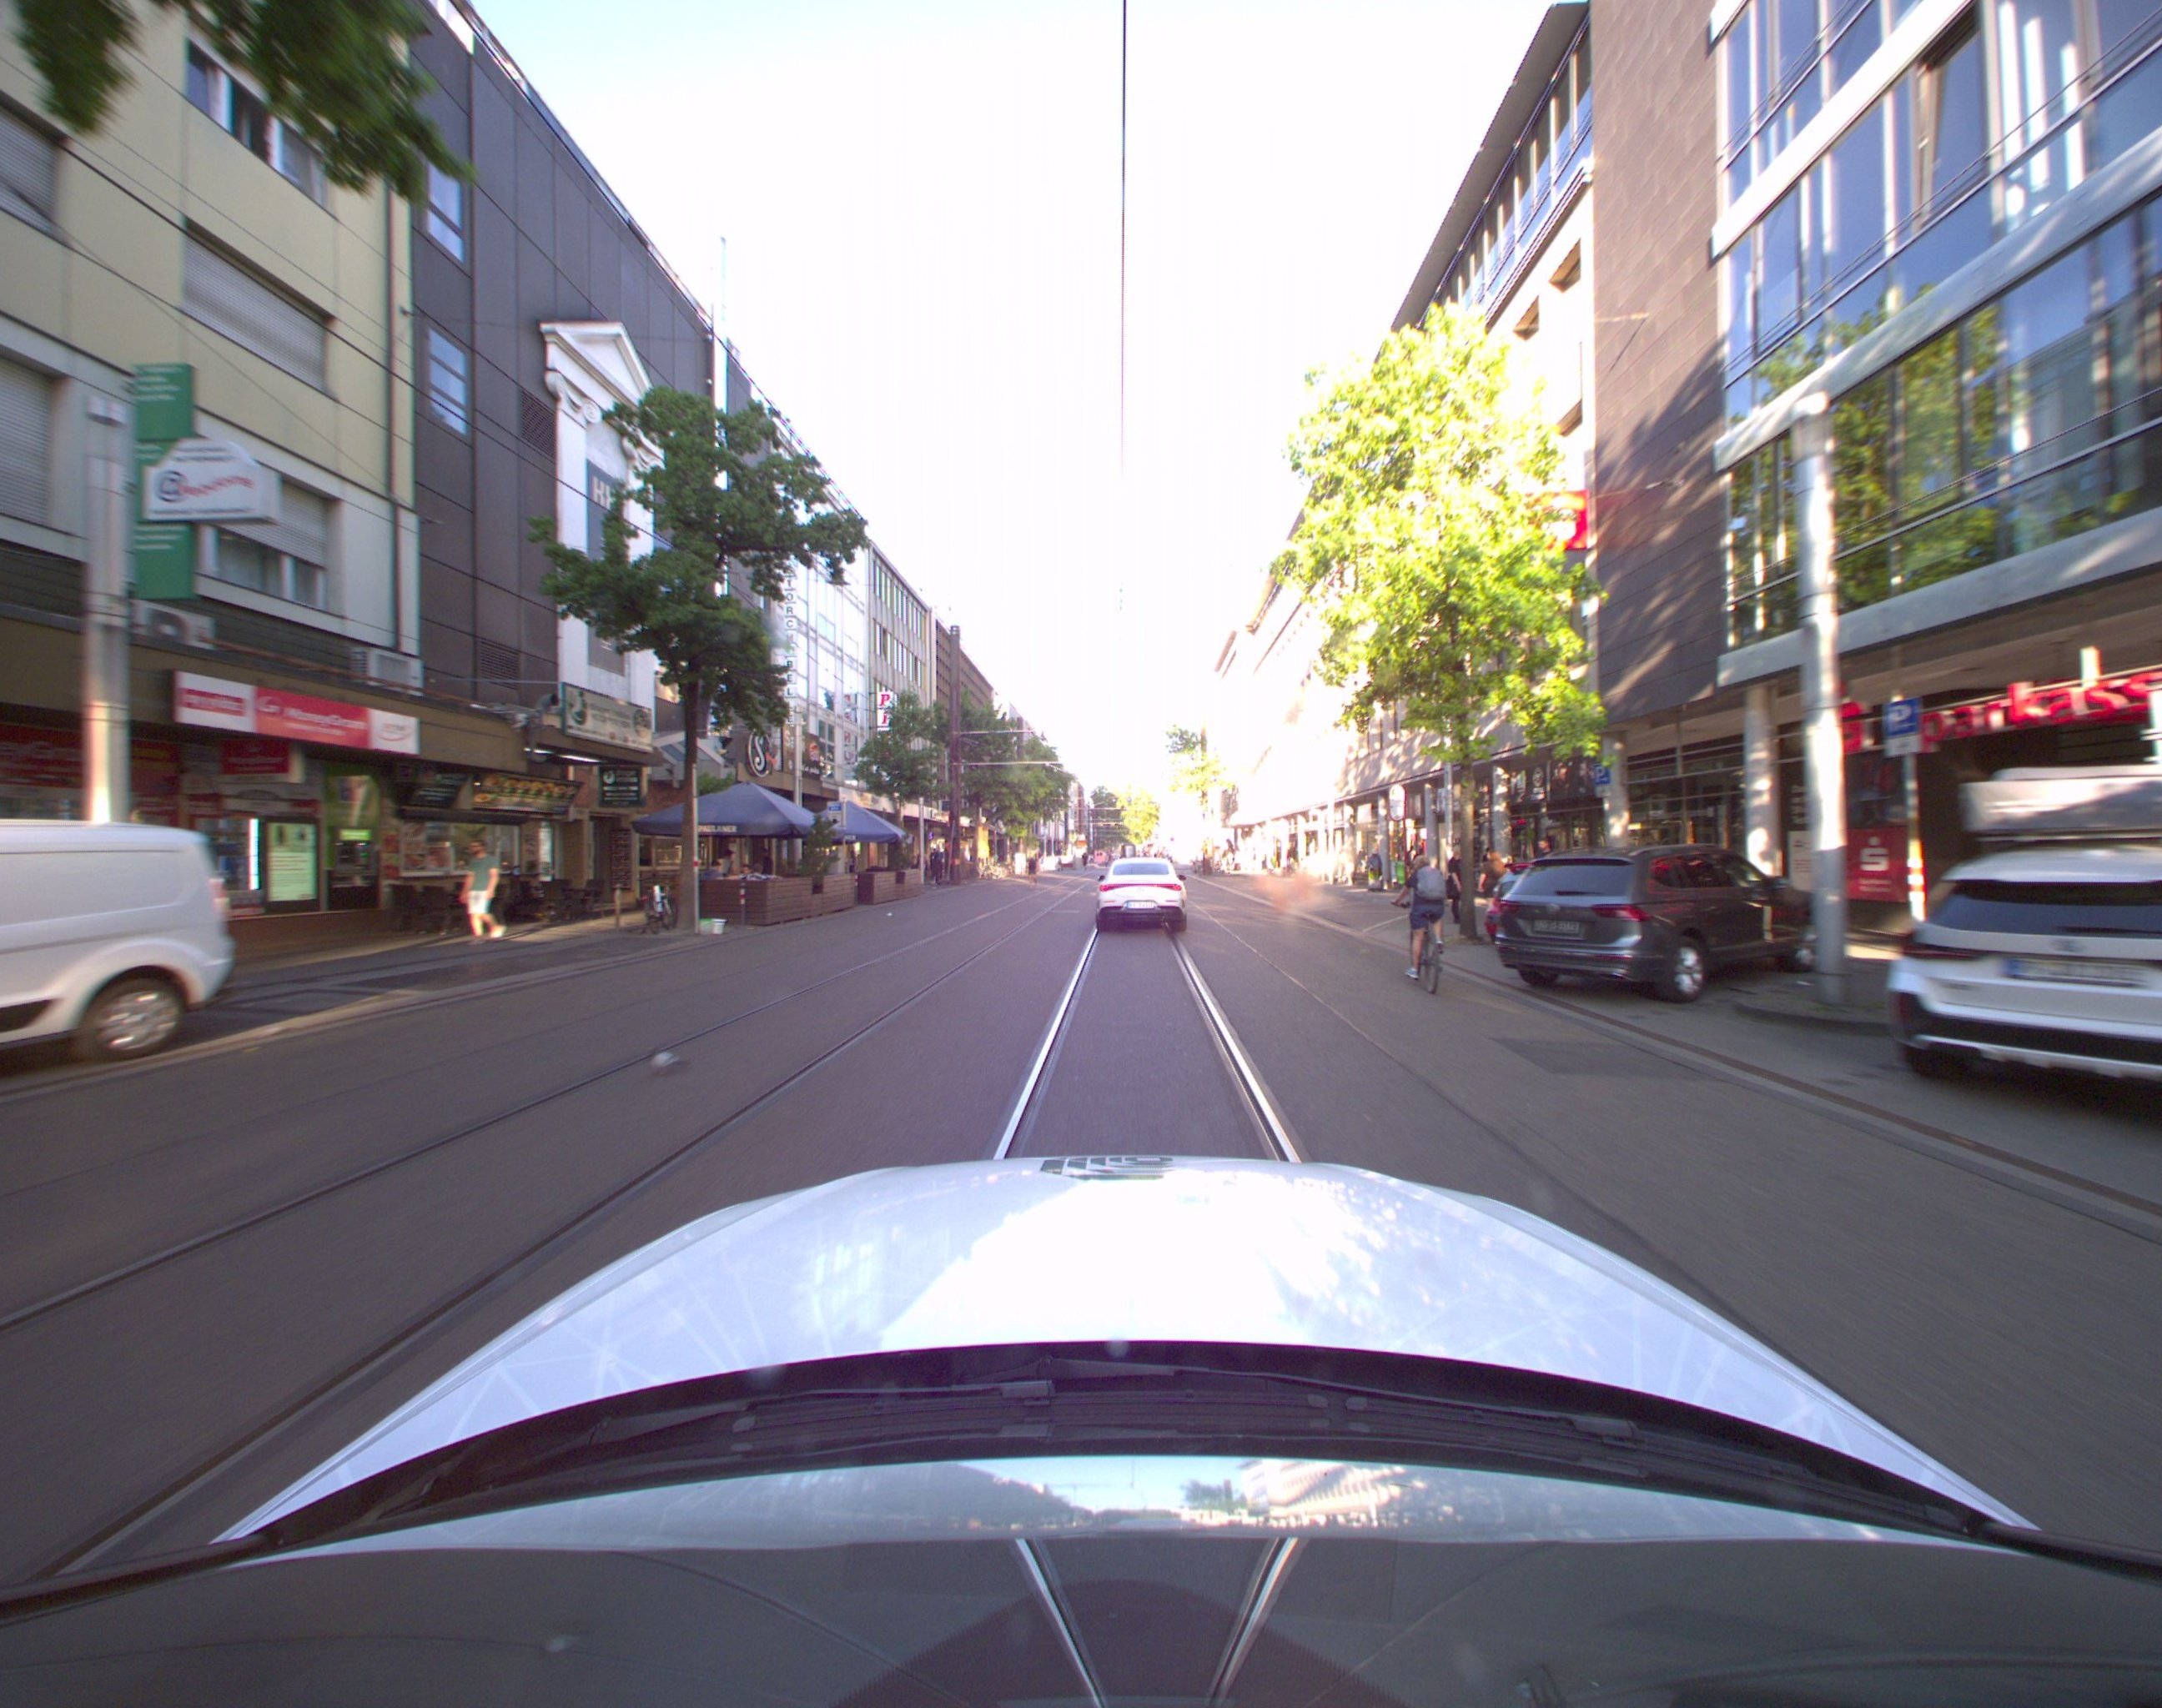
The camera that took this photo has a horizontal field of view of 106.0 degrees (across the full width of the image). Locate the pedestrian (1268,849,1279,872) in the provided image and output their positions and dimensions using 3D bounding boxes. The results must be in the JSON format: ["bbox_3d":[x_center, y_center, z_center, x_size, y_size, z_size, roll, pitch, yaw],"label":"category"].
[{"bbox_3d":[13.845,0.455,58.591,0.634,1.653,0.782,-1,0,4],"label":"pedestrian"}]

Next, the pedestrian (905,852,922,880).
[{"bbox_3d":[-9.147,0.638,44.475,0.619,1.526,0.810,2,0,4],"label":"pedestrian"}]

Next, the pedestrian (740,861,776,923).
[{"bbox_3d":[-7.257,0.837,18.321,0.547,1.356,0.583,0,0,2],"label":"pedestrian"}]

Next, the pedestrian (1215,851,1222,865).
[{"bbox_3d":[16.014,0.440,94.879,0.833,1.662,0.786,-1,0,5],"label":"pedestrian"}]

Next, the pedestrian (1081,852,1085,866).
[{"bbox_3d":[0.286,0.665,101.732,0.517,1.760,0.551,-1,0,1],"label":"pedestrian"}]

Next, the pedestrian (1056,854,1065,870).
[{"bbox_3d":[-2.172,0.857,87.090,0.901,1.698,0.850,-1,0,4],"label":"pedestrian"}]

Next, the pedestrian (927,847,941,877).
[{"bbox_3d":[-9.013,0.494,50.001,0.619,1.804,0.934,2,0,4],"label":"pedestrian"}]

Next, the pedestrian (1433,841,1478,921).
[{"bbox_3d":[8.168,0.577,17.762,0.672,1.685,0.700,-3,0,37],"label":"pedestrian"}]

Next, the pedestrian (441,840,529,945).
[{"bbox_3d":[-9.984,0.616,13.671,0.664,1.686,1.006,1,0,3],"label":"pedestrian"}]

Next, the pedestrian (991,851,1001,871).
[{"bbox_3d":[-7.697,0.612,73.834,0.788,1.767,0.533,-1,0,-21],"label":"pedestrian"}]

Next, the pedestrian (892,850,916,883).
[{"bbox_3d":[-8.881,0.604,40.947,0.841,1.638,0.766,1,0,23],"label":"pedestrian"}]

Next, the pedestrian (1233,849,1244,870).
[{"bbox_3d":[13.888,0.481,71.770,0.698,1.812,1.034,-4,0,3],"label":"pedestrian"}]

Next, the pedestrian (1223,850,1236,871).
[{"bbox_3d":[13.154,0.576,72.284,0.896,1.744,0.690,-4,-1,2],"label":"pedestrian"}]

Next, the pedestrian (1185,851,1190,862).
[{"bbox_3d":[16.874,0.403,128.624,0.724,1.785,0.708,-1,0,3],"label":"pedestrian"}]

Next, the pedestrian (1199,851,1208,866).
[{"bbox_3d":[14.466,0.539,96.055,0.837,1.785,0.804,-2,0,3],"label":"pedestrian"}]

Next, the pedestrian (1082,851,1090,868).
[{"bbox_3d":[0.557,0.660,91.591,0.576,1.929,0.534,0,-1,-43],"label":"pedestrian"}]

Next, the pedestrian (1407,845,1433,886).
[{"bbox_3d":[13.620,0.457,32.718,0.693,1.589,0.926,-1,0,4],"label":"pedestrian"}]

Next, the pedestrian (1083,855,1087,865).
[{"bbox_3d":[0.704,0.984,135.674,0.657,1.599,0.574,-1,0,2],"label":"pedestrian"}]

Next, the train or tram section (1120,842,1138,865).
[{"bbox_3d":[7.679,-0.090,129.587,2.683,3.516,12.556,-1,0,3],"label":"train or tram section"}]

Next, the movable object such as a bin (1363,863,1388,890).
[{"bbox_3d":[10.673,0.815,29.535,0.687,0.924,0.719,1,0,4],"label":"movable object such as a bin"}]

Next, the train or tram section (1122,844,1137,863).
[{"bbox_3d":[9.176,-0.070,153.958,2.683,3.516,11.153,-1,0,3],"label":"train or tram section"}]

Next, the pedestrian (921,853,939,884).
[{"bbox_3d":[-7.358,0.701,39.606,0.619,1.509,0.834,2,0,4],"label":"pedestrian"}]

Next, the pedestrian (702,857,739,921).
[{"bbox_3d":[-8.147,0.783,18.415,0.547,1.429,0.583,0,0,2],"label":"pedestrian"}]

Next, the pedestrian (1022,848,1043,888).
[{"bbox_3d":[-2.270,0.646,37.862,0.837,1.801,0.791,1,0,4],"label":"pedestrian"}]

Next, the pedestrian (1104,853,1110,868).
[{"bbox_3d":[3.269,0.797,102.410,0.797,1.782,0.849,1,0,2],"label":"pedestrian"}]

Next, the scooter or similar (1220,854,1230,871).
[{"bbox_3d":[11.171,0.685,63.116,0.491,1.277,0.658,-2,0,-8],"label":"scooter or similar"}]

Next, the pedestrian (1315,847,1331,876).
[{"bbox_3d":[14.846,0.438,49.977,0.712,1.741,0.836,-1,0,3],"label":"pedestrian"}]

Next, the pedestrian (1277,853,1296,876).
[{"bbox_3d":[12.358,0.632,49.004,0.836,1.377,0.773,0,0,-19],"label":"pedestrian"}]

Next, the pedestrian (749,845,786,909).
[{"bbox_3d":[-8.615,0.619,22.397,0.714,1.724,0.676,0,0,2],"label":"pedestrian"}]

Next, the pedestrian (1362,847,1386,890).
[{"bbox_3d":[10.812,0.533,30.080,0.678,1.572,0.632,1,0,4],"label":"pedestrian"}]

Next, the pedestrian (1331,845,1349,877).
[{"bbox_3d":[14.137,0.374,44.418,0.741,1.700,0.858,0,0,4],"label":"pedestrian"}]

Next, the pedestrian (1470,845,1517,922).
[{"bbox_3d":[8.632,0.614,17.045,0.693,1.552,0.600,-3,-1,-43],"label":"pedestrian"}]

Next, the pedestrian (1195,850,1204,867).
[{"bbox_3d":[12.806,0.516,88.082,0.745,1.785,0.767,-2,0,3],"label":"pedestrian"}]

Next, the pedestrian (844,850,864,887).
[{"bbox_3d":[-9.699,0.612,34.790,0.594,1.533,0.672,1,0,4],"label":"pedestrian"}]

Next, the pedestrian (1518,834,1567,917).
[{"bbox_3d":[9.950,0.455,17.559,0.636,1.731,0.681,-2,-1,-45],"label":"pedestrian"}]

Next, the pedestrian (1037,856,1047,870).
[{"bbox_3d":[-4.196,0.940,88.581,0.951,1.496,0.945,-1,0,4],"label":"pedestrian"}]

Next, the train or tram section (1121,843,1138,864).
[{"bbox_3d":[8.453,-0.082,142.128,2.683,3.516,12.556,-1,0,3],"label":"train or tram section"}]

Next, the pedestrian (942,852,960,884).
[{"bbox_3d":[-6.312,0.683,39.646,0.619,1.550,0.853,2,0,4],"label":"pedestrian"}]

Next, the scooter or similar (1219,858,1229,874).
[{"bbox_3d":[11.235,0.942,63.867,0.527,1.277,0.658,-2,0,-8],"label":"scooter or similar"}]

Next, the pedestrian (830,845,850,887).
[{"bbox_3d":[-10.301,0.514,34.807,0.594,1.745,0.672,1,0,4],"label":"pedestrian"}]

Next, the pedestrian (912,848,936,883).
[{"bbox_3d":[-7.948,0.590,41.294,0.842,1.741,0.839,1,0,23],"label":"pedestrian"}]

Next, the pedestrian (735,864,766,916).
[{"bbox_3d":[-7.998,0.867,19.722,0.492,1.228,0.536,0,0,2],"label":"pedestrian"}]

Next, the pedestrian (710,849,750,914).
[{"bbox_3d":[-8.875,0.688,20.618,0.670,1.607,0.720,0,0,2],"label":"pedestrian"}]

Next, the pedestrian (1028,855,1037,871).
[{"bbox_3d":[-5.414,0.998,91.155,0.833,1.717,0.786,-1,0,5],"label":"pedestrian"}]
